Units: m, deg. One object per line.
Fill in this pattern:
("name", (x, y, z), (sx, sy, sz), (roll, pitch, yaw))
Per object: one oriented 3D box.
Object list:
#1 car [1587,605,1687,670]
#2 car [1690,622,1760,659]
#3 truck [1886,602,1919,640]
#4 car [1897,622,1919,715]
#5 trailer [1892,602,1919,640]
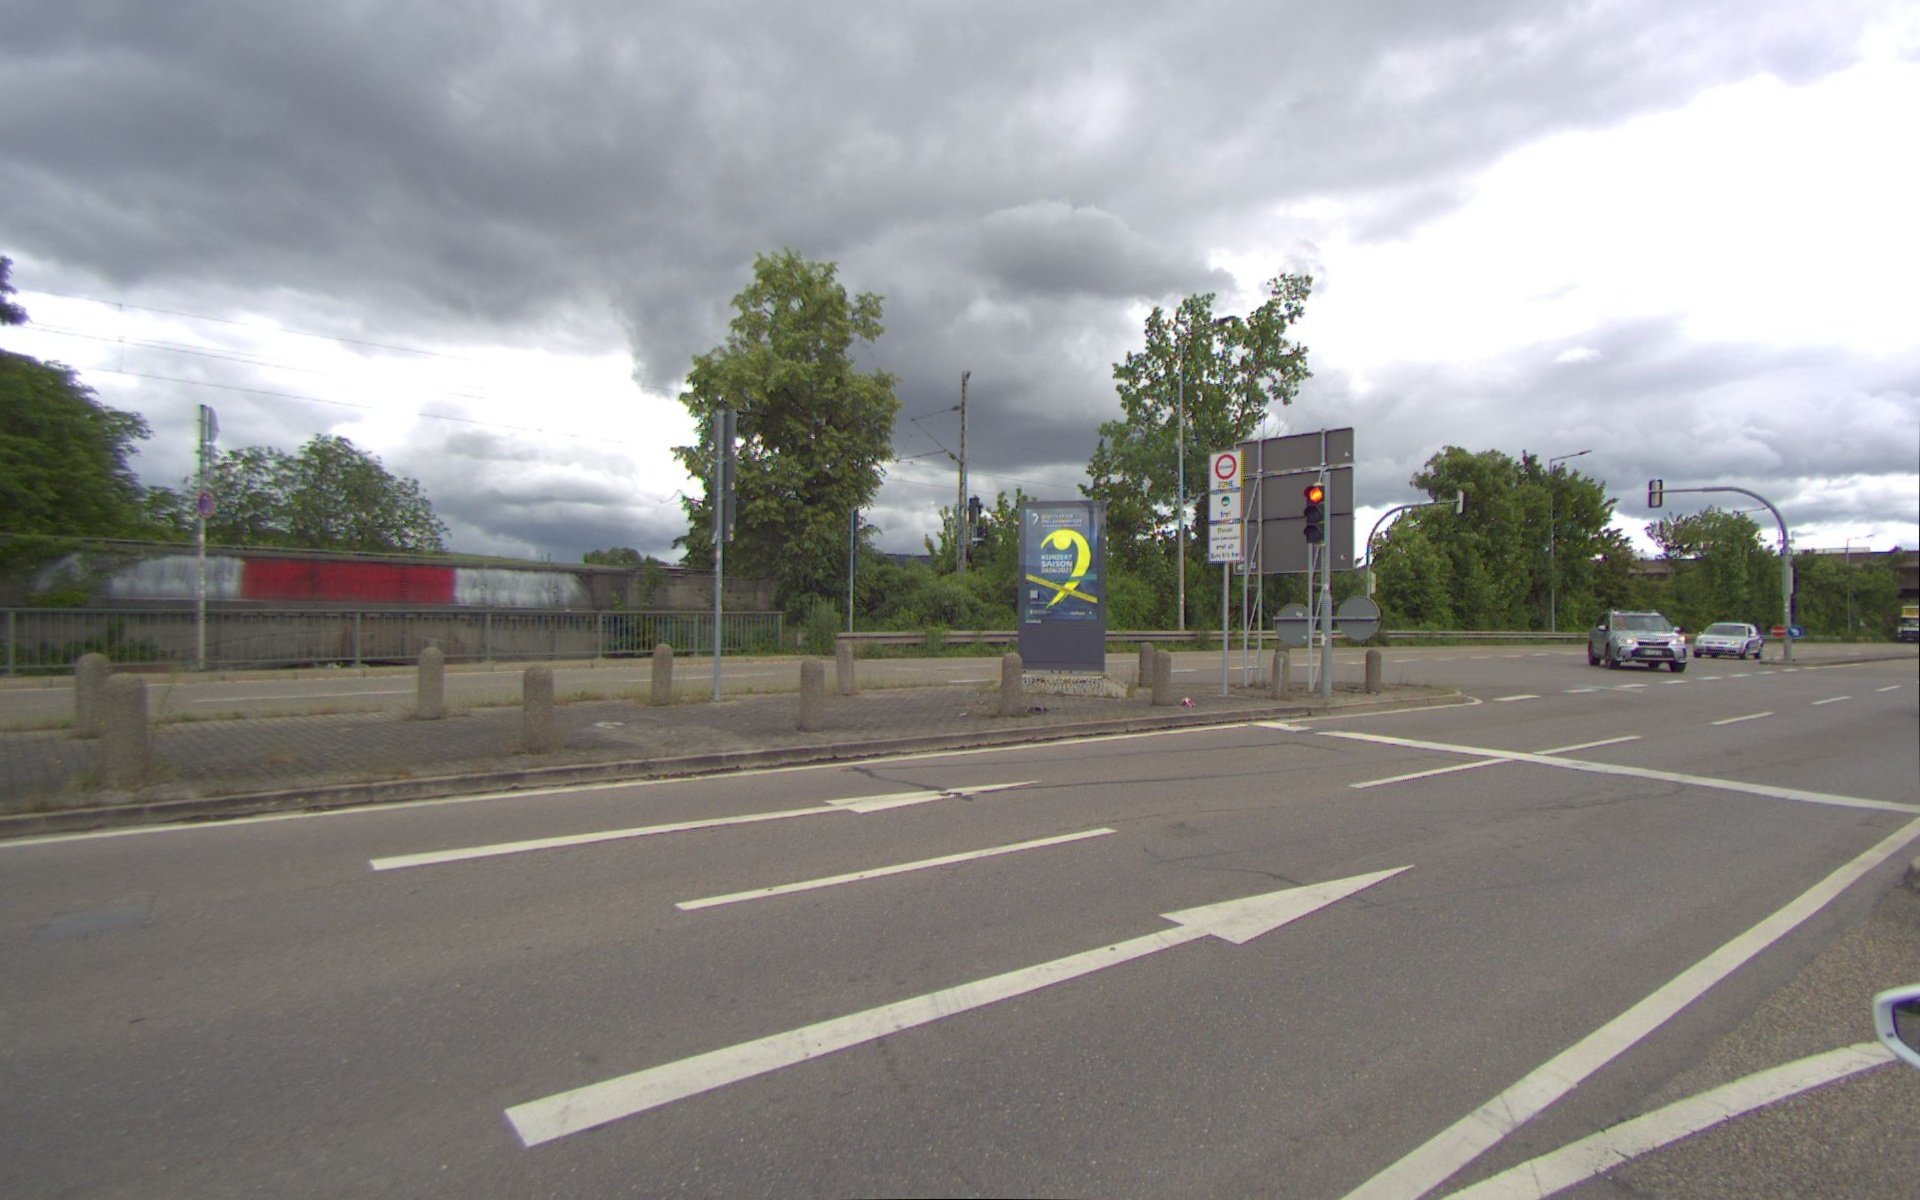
("car", (19.736, 1.049, 29.471), (1.697, 1.760, 4.552), (0, -1, 25))
("car", (31.237, 1.598, 40.959), (4.039, 1.419, 1.707), (1, -1, -44))
("truck", (107.931, 2.372, 114.021), (6.426, 4.139, 2.851), (1, 2, -37))
("car", (16.572, 1.132, 14.553), (1.698, 1.481, 4.237), (0, 1, -9))
("trailer", (112.147, 2.454, 117.165), (11.318, 4.139, 2.851), (1, 2, -37))
